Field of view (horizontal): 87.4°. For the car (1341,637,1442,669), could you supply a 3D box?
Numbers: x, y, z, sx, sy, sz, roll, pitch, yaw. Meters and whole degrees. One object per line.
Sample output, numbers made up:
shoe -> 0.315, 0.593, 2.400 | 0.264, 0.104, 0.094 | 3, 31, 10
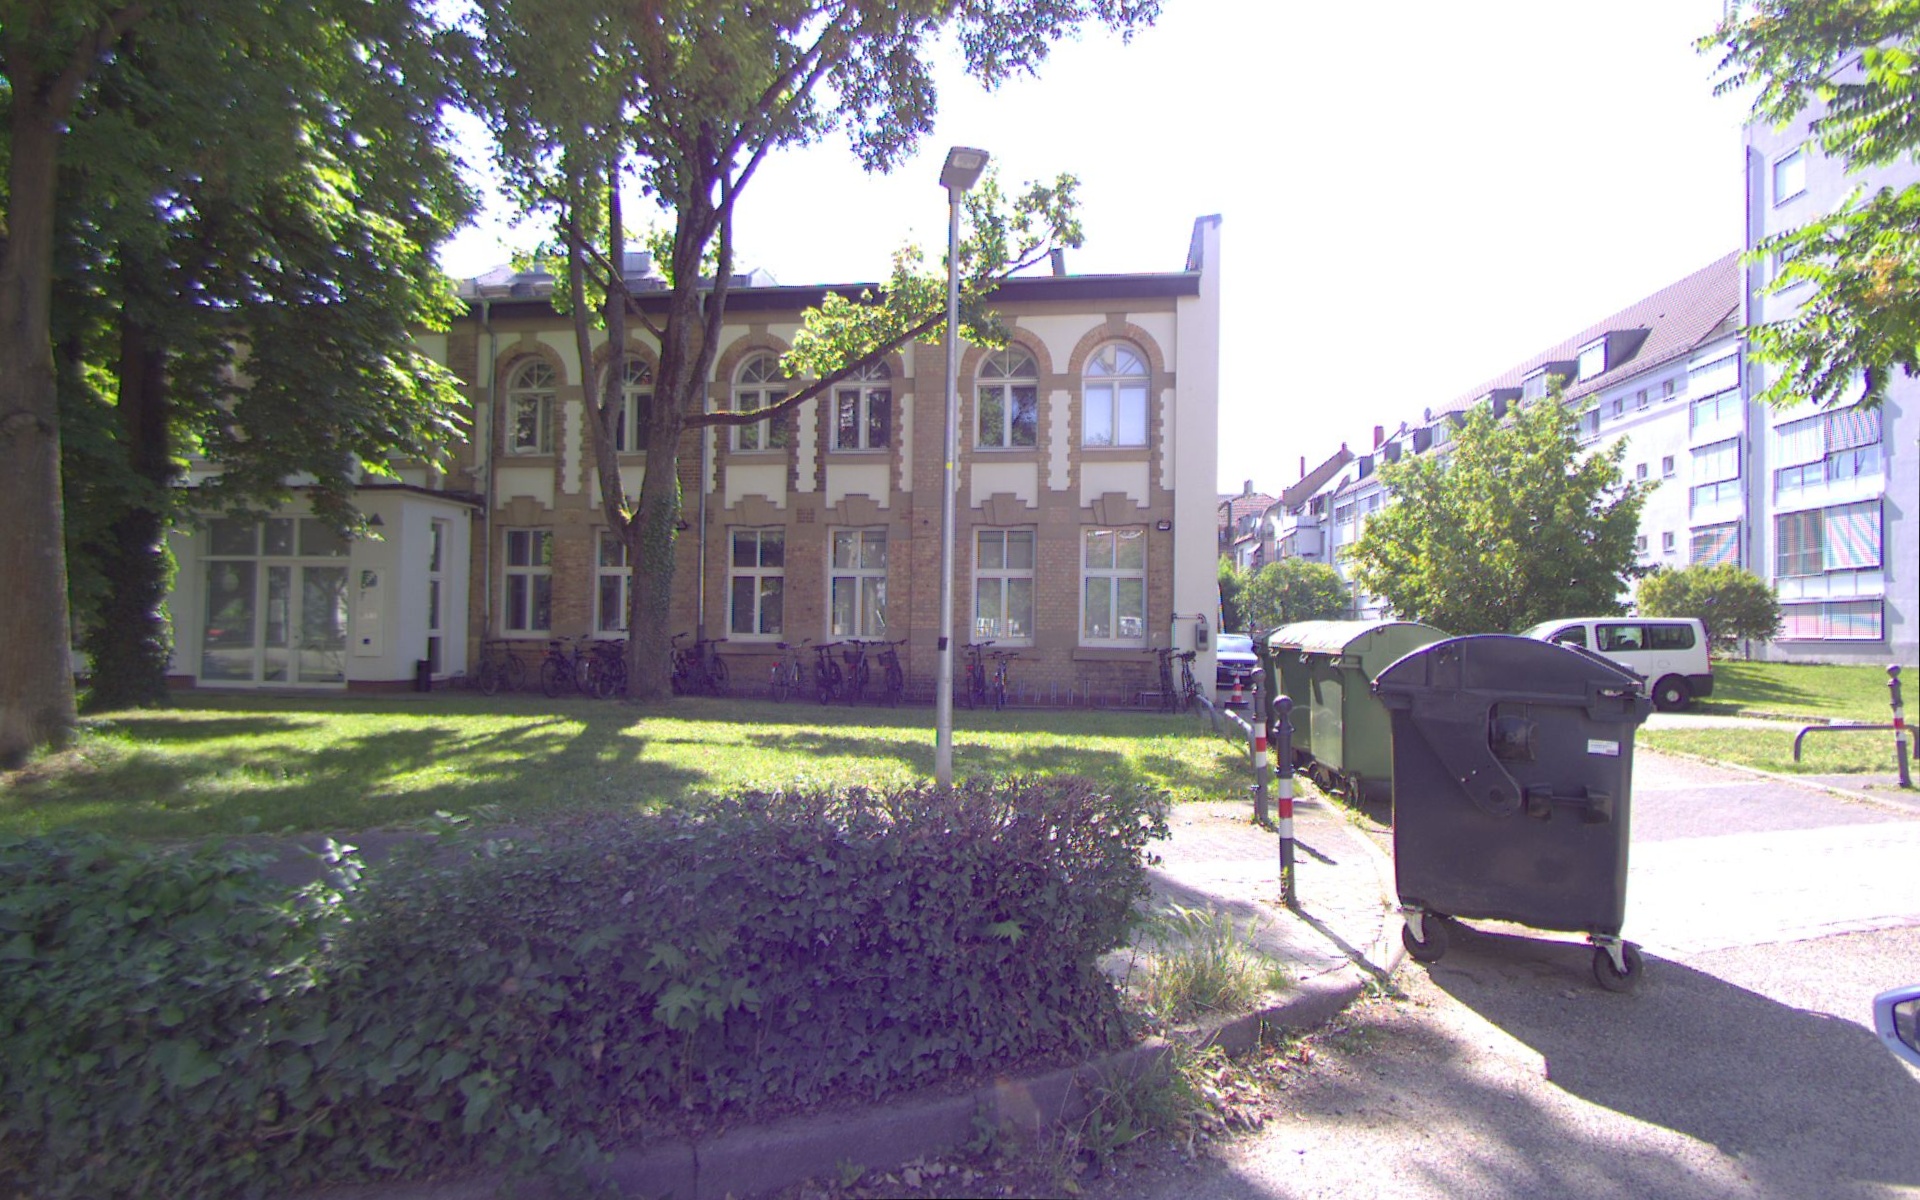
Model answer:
car -> 19.890, 2.446, 46.412 | 3.919, 1.446, 1.813 | 0, -2, 6

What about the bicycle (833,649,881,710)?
bicycle -> -1.826, 1.393, 17.978 | 0.437, 1.005, 1.542 | 0, -1, 11

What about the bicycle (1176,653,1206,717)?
bicycle -> 3.967, 1.430, 17.287 | 0.437, 1.005, 1.542 | 0, -1, 11

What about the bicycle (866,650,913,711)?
bicycle -> -1.243, 1.406, 17.890 | 0.437, 1.005, 1.542 | 0, -1, 11

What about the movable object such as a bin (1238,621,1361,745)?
movable object such as a bin -> 4.187, 0.998, 12.532 | 1.223, 1.450, 1.351 | 0, -2, 8

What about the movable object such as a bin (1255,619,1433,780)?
movable object such as a bin -> 3.651, 0.919, 9.679 | 1.224, 1.450, 1.223 | 1, -2, -2

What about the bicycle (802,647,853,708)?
bicycle -> -2.363, 1.373, 18.058 | 0.437, 1.005, 1.542 | 0, -1, 11

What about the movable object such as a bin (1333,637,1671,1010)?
movable object such as a bin -> 2.502, 0.894, 4.781 | 1.225, 1.415, 1.403 | 0, -2, 26

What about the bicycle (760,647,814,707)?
bicycle -> -3.102, 1.359, 18.084 | 0.437, 1.005, 1.542 | 0, -1, 11

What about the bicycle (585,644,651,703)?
bicycle -> -6.297, 1.338, 18.570 | 0.437, 1.005, 1.542 | 0, -1, 11

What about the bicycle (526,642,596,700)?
bicycle -> -7.384, 1.297, 18.664 | 0.437, 1.005, 1.542 | 0, -1, 11

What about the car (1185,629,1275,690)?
car -> 7.270, 1.636, 27.407 | 1.805, 1.460, 4.434 | 2, -3, 8

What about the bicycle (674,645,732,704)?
bicycle -> -4.682, 1.337, 18.357 | 0.437, 1.005, 1.542 | 0, -1, 9

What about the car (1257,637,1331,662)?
car -> 21.370, 3.160, 64.378 | 4.157, 1.552, 2.001 | 0, -1, 5

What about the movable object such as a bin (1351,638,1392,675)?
movable object such as a bin -> 15.347, 2.089, 37.517 | 1.226, 1.358, 1.143 | 0, -2, 11

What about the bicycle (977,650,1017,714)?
bicycle -> 0.671, 1.409, 17.583 | 0.437, 1.005, 1.686 | 0, -1, 11

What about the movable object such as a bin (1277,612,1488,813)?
movable object such as a bin -> 3.417, 0.873, 8.291 | 1.223, 1.501, 1.340 | 0, -2, 3

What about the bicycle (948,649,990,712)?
bicycle -> 0.180, 1.381, 17.635 | 0.437, 1.005, 1.667 | 0, -1, 11

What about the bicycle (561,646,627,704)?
bicycle -> -6.766, 1.374, 18.637 | 0.367, 1.002, 1.601 | 0, -2, 11

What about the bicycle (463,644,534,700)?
bicycle -> -8.654, 1.333, 18.907 | 0.437, 1.005, 1.542 | 1, -2, 7

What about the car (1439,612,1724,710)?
car -> 13.491, 1.292, 22.121 | 4.938, 1.958, 2.002 | 1, -2, 10

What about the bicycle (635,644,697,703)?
bicycle -> -5.352, 1.316, 18.355 | 0.437, 1.005, 1.542 | 0, -1, 11

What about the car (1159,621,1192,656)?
car -> 16.689, 3.025, 78.101 | 2.137, 2.641, 6.740 | 0, -3, 9

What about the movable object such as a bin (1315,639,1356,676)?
movable object such as a bin -> 14.111, 2.173, 37.763 | 1.226, 1.336, 1.143 | -2, -4, 10

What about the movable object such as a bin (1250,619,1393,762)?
movable object such as a bin -> 3.921, 0.953, 11.043 | 1.223, 1.450, 1.367 | 0, -2, 8

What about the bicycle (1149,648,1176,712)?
bicycle -> 3.486, 1.356, 17.305 | 0.437, 1.005, 1.631 | 0, -1, 11
